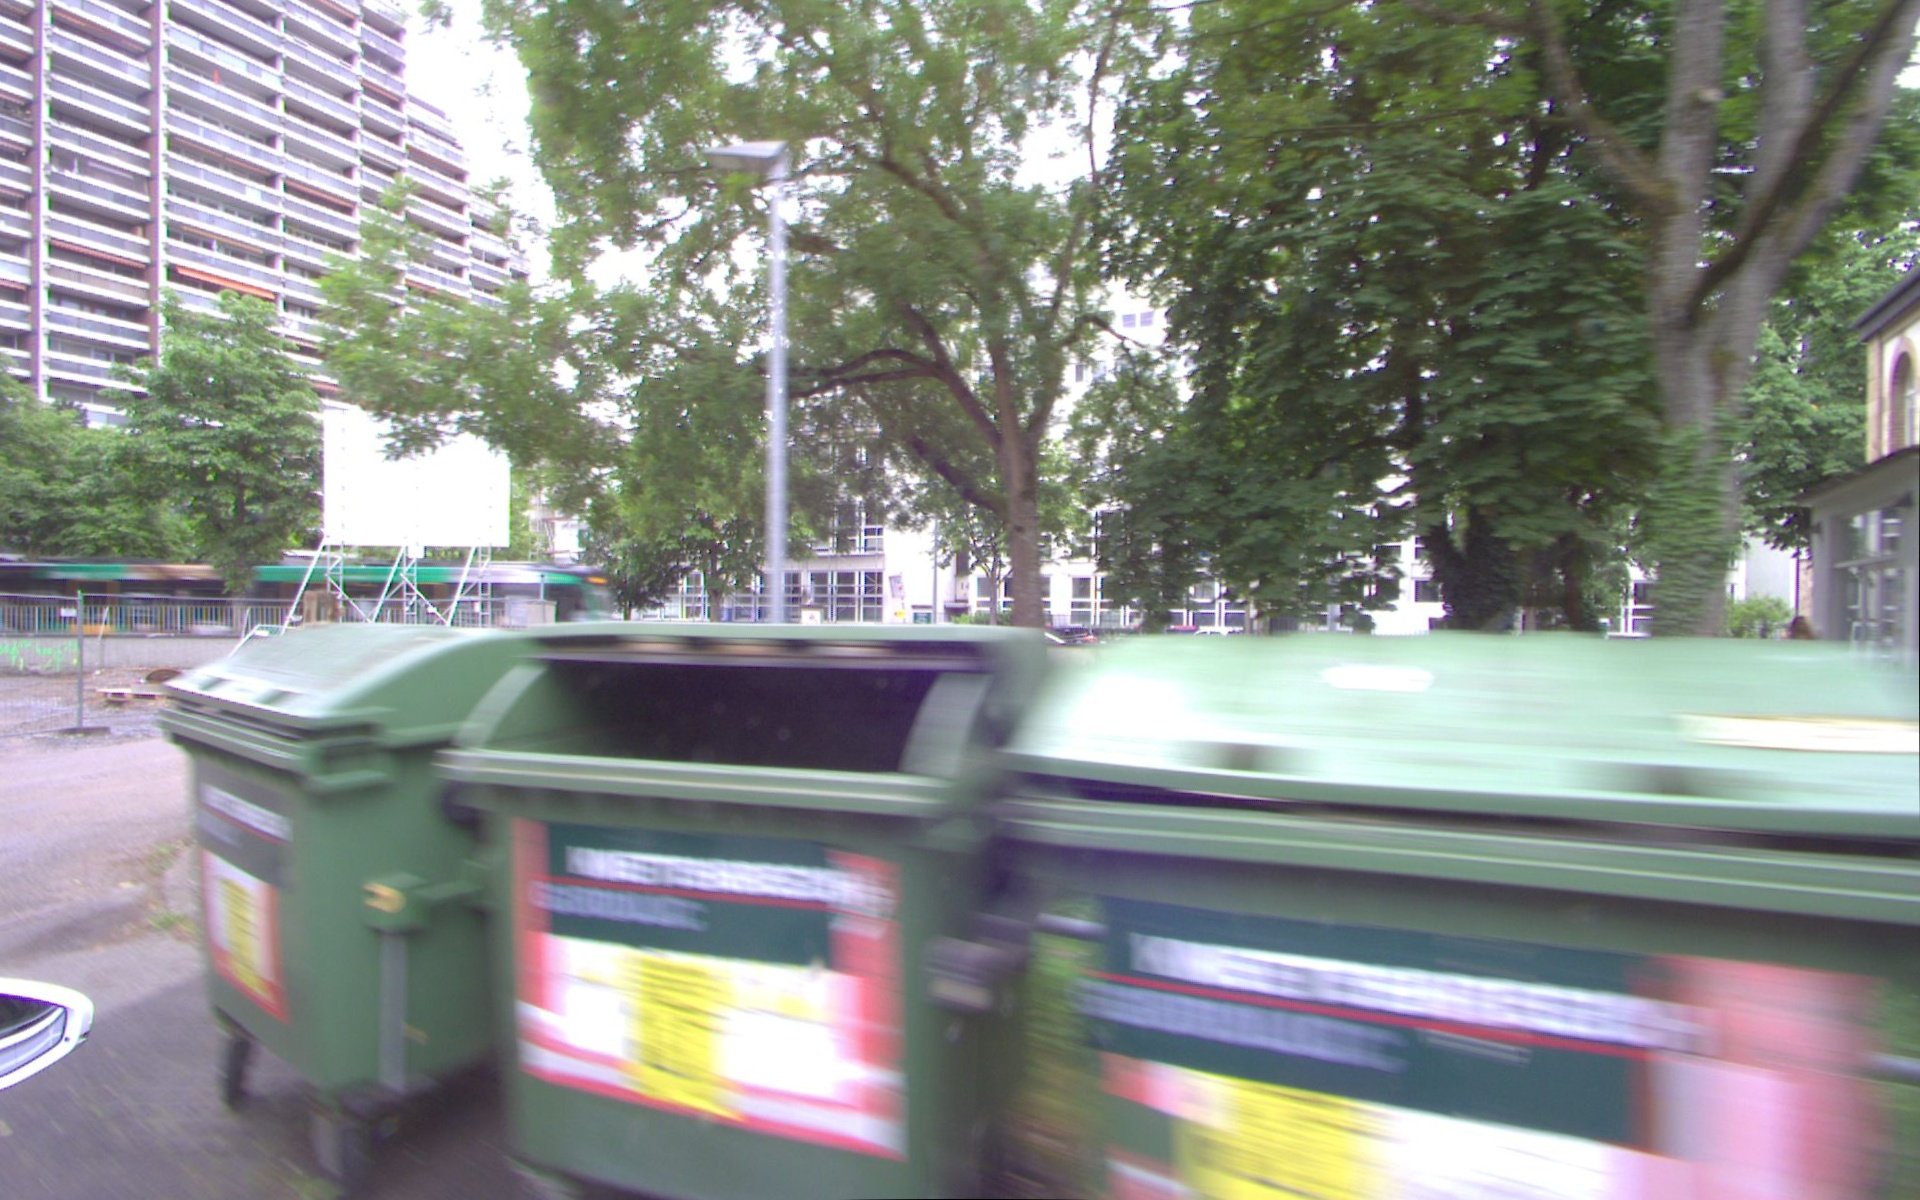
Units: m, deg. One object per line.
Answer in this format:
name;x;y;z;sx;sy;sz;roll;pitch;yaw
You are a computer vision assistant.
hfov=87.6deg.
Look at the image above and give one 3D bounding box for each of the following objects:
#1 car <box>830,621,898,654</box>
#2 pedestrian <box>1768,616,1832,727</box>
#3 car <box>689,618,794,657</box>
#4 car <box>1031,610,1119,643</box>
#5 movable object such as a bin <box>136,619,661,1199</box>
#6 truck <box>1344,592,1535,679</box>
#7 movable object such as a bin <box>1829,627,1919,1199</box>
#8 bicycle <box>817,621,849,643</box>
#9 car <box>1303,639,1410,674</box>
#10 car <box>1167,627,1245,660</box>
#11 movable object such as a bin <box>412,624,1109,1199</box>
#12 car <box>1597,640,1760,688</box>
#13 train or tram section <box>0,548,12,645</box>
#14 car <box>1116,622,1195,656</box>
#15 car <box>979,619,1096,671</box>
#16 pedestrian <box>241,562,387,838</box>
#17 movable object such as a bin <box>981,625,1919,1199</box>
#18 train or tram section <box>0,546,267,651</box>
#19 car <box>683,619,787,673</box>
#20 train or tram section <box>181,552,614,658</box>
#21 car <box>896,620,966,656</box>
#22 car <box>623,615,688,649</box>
car;-4.492;1.719;46.660;1.540;1.492;3.379;1;-1;-40
pedestrian;12.543;1.045;14.966;0.595;1.608;0.625;1;0;28
car;-8.833;1.502;40.687;3.922;1.539;1.603;0;0;1
car;5.346;1.231;46.827;3.913;1.493;1.659;-1;-1;44
movable object such as a bin;-1.759;0.791;3.141;1.260;1.453;1.064;0;-1;40
truck;14.688;1.074;30.870;4.832;2.579;2.170;0;0;1
movable object such as a bin;2.011;0.776;1.097;1.304;1.469;1.106;1;0;23
bicycle;-6.752;1.697;53.494;0.635;1.089;2.304;1;1;23
car;18.384;2.596;46.572;4.450;1.492;1.404;-1;-2;44
car;11.518;2.020;46.918;1.402;1.493;3.358;1;-1;-43
movable object such as a bin;-0.390;0.802;2.443;1.264;1.469;1.106;1;0;22
car;21.979;1.946;30.713;3.737;1.372;1.812;0;-1;-3
train or tram section;-42.457;-0.187;37.129;12.214;3.661;2.668;0;0;1
car;8.920;1.777;45.839;1.402;1.493;3.358;1;-1;-43
car;2.368;1.375;31.089;3.523;1.520;1.666;1;-1;2
pedestrian;-4.477;0.664;6.990;0.739;1.805;0.661;0;0;-22
movable object such as a bin;0.830;0.789;1.795;1.272;1.469;1.106;1;0;23
train or tram section;-32.543;-0.049;36.934;12.214;3.661;2.668;0;0;1
car;-6.453;1.363;29.099;1.747;1.450;3.982;0;-3;6
train or tram section;-20.401;0.182;36.768;14.482;3.661;2.668;0;0;1
car;-1.393;1.748;46.928;1.540;1.639;3.379;1;-1;-40
car;-14.178;1.485;46.565;1.603;1.530;3.305;1;-1;-43
